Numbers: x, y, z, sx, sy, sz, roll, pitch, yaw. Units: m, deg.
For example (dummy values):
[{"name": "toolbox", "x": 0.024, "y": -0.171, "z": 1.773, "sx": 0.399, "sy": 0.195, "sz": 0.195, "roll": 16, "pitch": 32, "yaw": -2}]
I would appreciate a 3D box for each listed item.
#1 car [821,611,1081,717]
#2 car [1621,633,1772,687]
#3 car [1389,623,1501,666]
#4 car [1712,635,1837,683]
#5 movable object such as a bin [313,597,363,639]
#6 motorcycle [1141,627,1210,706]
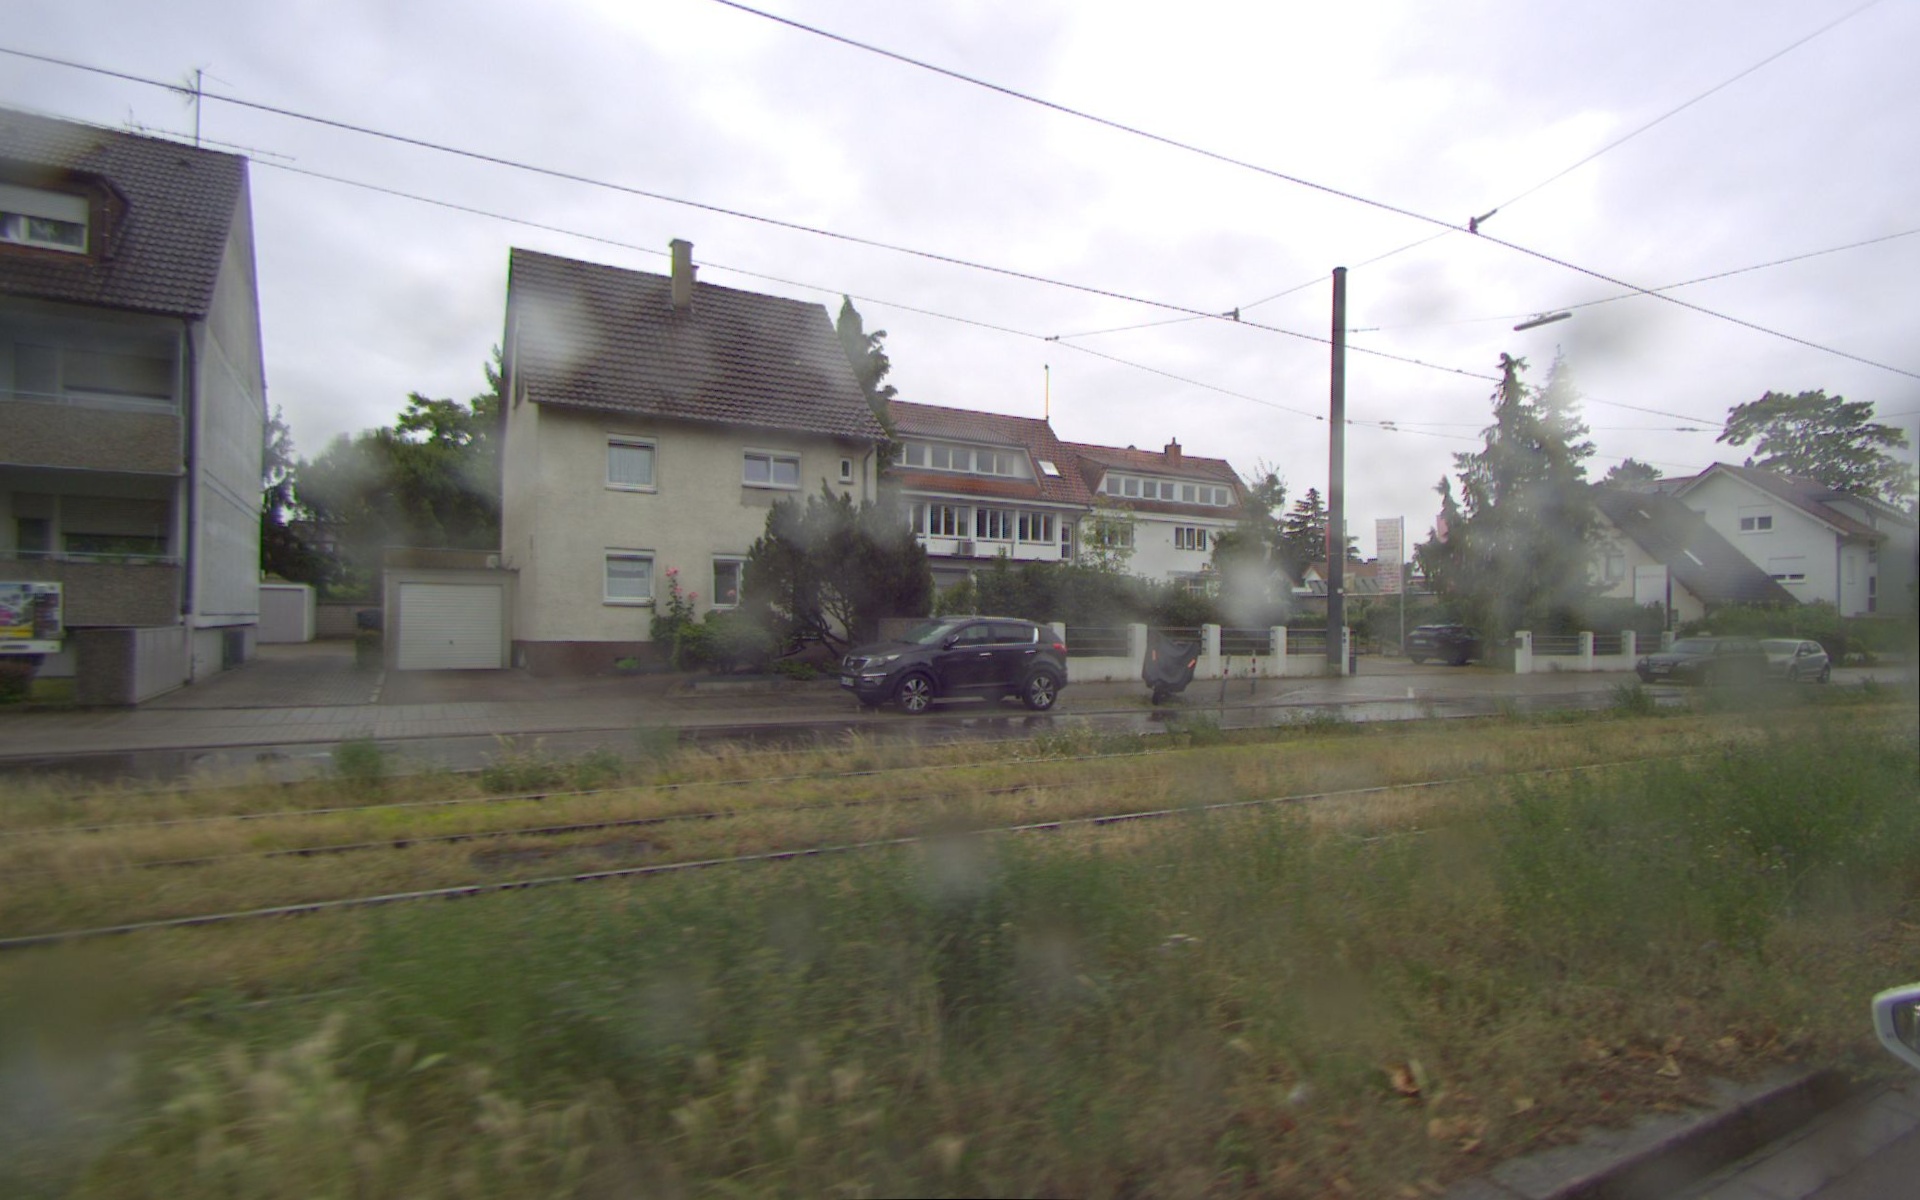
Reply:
[{"name": "car", "x": -0.124, "y": 1.095, "z": 18.276, "sx": 4.338, "sy": 1.697, "sz": 1.983, "roll": 2, "pitch": -1, "yaw": -31}, {"name": "car", "x": 22.799, "y": 1.802, "z": 31.077, "sx": 4.474, "sy": 1.475, "sz": 1.985, "roll": 1, "pitch": 1, "yaw": -28}, {"name": "car", "x": 18.494, "y": 1.664, "z": 38.270, "sx": 3.871, "sy": 1.475, "sz": 1.984, "roll": 1, "pitch": 1, "yaw": -30}, {"name": "car", "x": 27.522, "y": 1.941, "z": 33.948, "sx": 3.924, "sy": 1.430, "sz": 1.984, "roll": 1, "pitch": 1, "yaw": -30}, {"name": "movable object such as a bin", "x": -28.738, "y": 0.840, "z": 46.426, "sx": 1.899, "sy": 1.800, "sz": 2.130, "roll": 2, "pitch": 1, "yaw": -32}, {"name": "motorcycle", "x": 4.469, "y": 1.318, "z": 20.778, "sx": 1.241, "sy": 1.429, "sz": 2.689, "roll": 2, "pitch": 0, "yaw": 13}]
